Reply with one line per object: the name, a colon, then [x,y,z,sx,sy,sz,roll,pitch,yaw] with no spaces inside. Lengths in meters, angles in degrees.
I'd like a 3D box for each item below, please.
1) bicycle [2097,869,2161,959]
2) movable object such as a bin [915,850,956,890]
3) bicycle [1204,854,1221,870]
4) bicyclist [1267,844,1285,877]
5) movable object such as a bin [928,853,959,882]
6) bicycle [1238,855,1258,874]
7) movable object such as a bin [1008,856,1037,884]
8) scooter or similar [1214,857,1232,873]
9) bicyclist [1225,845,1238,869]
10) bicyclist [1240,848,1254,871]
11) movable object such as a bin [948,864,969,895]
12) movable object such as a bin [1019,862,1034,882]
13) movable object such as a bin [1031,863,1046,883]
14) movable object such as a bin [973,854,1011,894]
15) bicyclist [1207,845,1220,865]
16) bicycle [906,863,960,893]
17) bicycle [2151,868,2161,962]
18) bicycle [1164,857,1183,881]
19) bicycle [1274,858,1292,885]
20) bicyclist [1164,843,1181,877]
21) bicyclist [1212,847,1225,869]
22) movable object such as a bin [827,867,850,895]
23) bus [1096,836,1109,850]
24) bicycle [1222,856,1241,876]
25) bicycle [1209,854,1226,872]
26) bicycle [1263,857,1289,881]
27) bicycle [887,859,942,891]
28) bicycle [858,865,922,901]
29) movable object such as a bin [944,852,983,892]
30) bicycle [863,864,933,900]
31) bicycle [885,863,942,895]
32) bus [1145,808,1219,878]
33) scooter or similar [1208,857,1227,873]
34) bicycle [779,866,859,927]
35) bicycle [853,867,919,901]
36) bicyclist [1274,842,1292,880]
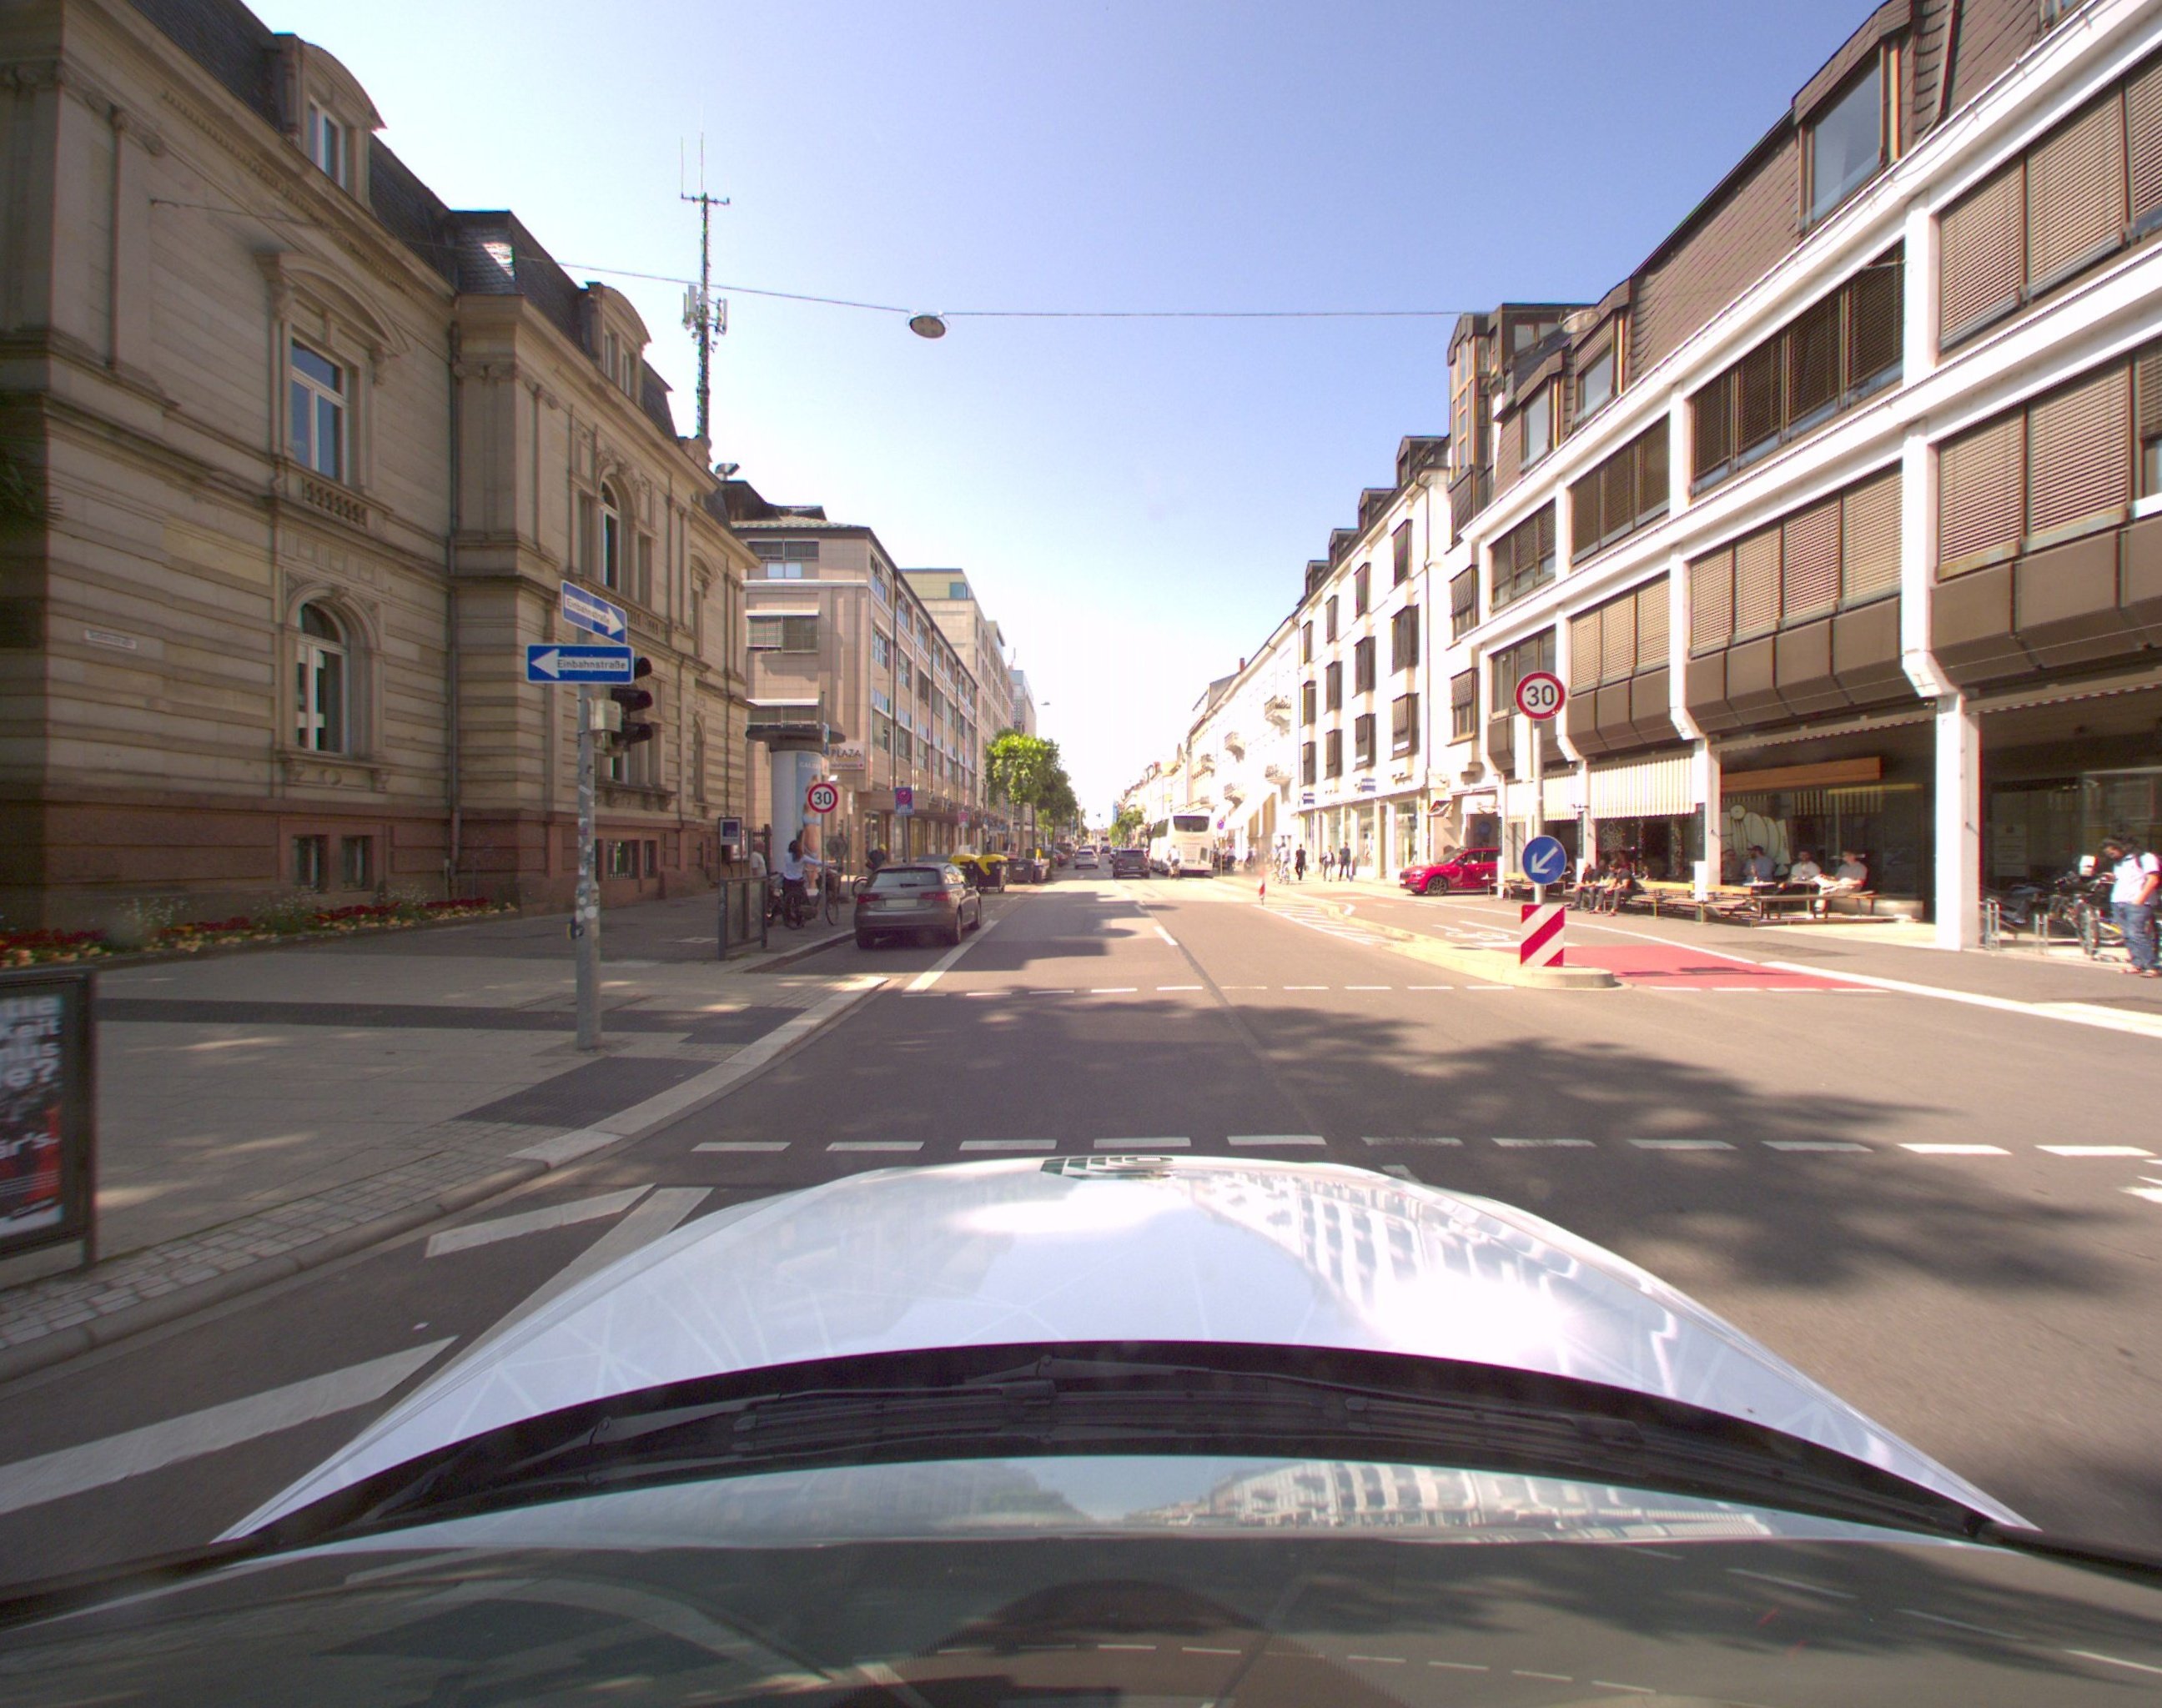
bicycle: [13.936,0.742,10.395,2.238,1.097,0.276,0,0,-14]
movable object such as a bin: [-5.668,0.606,31.774,1.203,1.450,1.366,1,1,6]
bicycle: [9.400,0.550,58.310,0.835,1.099,2.351,0,0,-1]
bicyclist: [9.176,0.317,38.359,0.618,1.529,0.869,0,0,-1]
movable object such as a bin: [-6.398,0.626,38.021,1.204,1.299,1.127,1,1,0]
bicycle: [9.710,0.609,47.411,0.618,1.099,2.351,0,0,-1]
movable object such as a bin: [-2.742,0.731,38.154,1.273,1.299,0.853,0,0,0]
scooter or similar: [8.620,0.651,49.490,0.863,0.957,1.212,0,0,-1]
bicyclist: [8.657,0.190,46.941,0.618,1.370,0.780,0,0,-1]
bicyclist: [9.708,0.317,47.557,0.618,1.296,0.866,0,0,-1]
movable object such as a bin: [-4.508,0.927,30.021,0.722,1.098,0.655,1,1,-7]
movable object such as a bin: [-2.633,0.854,39.439,0.495,0.939,0.558,-2,1,17]
movable object such as a bin: [-2.053,0.908,39.687,0.556,0.939,0.496,-2,1,-26]
movable object such as a bin: [-3.411,0.745,31.434,1.118,1.450,1.441,1,1,6]
bicyclist: [9.415,0.075,57.906,0.785,1.379,0.722,0,0,-1]
bicycle: [-5.579,0.896,30.785,1.963,1.120,0.508,1,-1,-4]
bicycle: [13.963,0.723,9.777,2.234,1.120,0.277,0,0,-8]
bicycle: [4.637,0.749,40.937,0.662,1.120,2.244,2,1,1]
bicycle: [8.828,0.733,35.666,0.591,1.120,1.805,0,1,8]
bicyclist: [4.571,0.288,40.816,0.692,1.673,0.916,2,1,1]
bicyclist: [8.617,0.264,51.079,0.618,1.370,0.780,0,0,-1]
movable object such as a bin: [-7.892,0.878,26.505,0.654,0.876,0.510,0,-2,-7]
bus: [5.663,-2.805,216.532,2.763,3.605,8.966,-1,1,-2]
bicycle: [8.652,0.668,47.016,0.618,1.099,2.351,0,0,-1]
bicycle: [8.597,0.559,51.296,0.618,1.099,2.351,0,0,-1]
bicycle: [9.175,0.684,38.361,0.618,1.099,2.351,0,0,-1]
bicycle: [-6.012,0.762,29.502,1.839,1.073,0.556,-2,-2,-4]
bicycle: [-6.201,0.942,26.514,1.960,1.120,0.554,2,-1,-11]
movable object such as a bin: [-4.528,0.691,31.539,1.118,1.450,1.441,1,1,6]
bicycle: [-6.082,0.943,27.170,2.236,1.120,0.554,2,-1,-11]
bicycle: [-6.179,0.916,30.146,1.970,1.120,0.508,2,-1,-4]
bus: [6.038,-0.636,50.839,2.872,3.742,12.423,2,0,0]
scooter or similar: [9.458,0.760,56.597,1.118,1.101,1.085,0,0,-1]
bicycle: [-5.154,0.814,16.190,0.426,1.120,2.250,1,-1,11]
bicycle: [-6.144,0.938,25.793,1.963,1.017,0.668,2,-1,-11]
bicyclist: [8.806,0.294,35.491,0.690,1.625,0.838,-1,0,10]
